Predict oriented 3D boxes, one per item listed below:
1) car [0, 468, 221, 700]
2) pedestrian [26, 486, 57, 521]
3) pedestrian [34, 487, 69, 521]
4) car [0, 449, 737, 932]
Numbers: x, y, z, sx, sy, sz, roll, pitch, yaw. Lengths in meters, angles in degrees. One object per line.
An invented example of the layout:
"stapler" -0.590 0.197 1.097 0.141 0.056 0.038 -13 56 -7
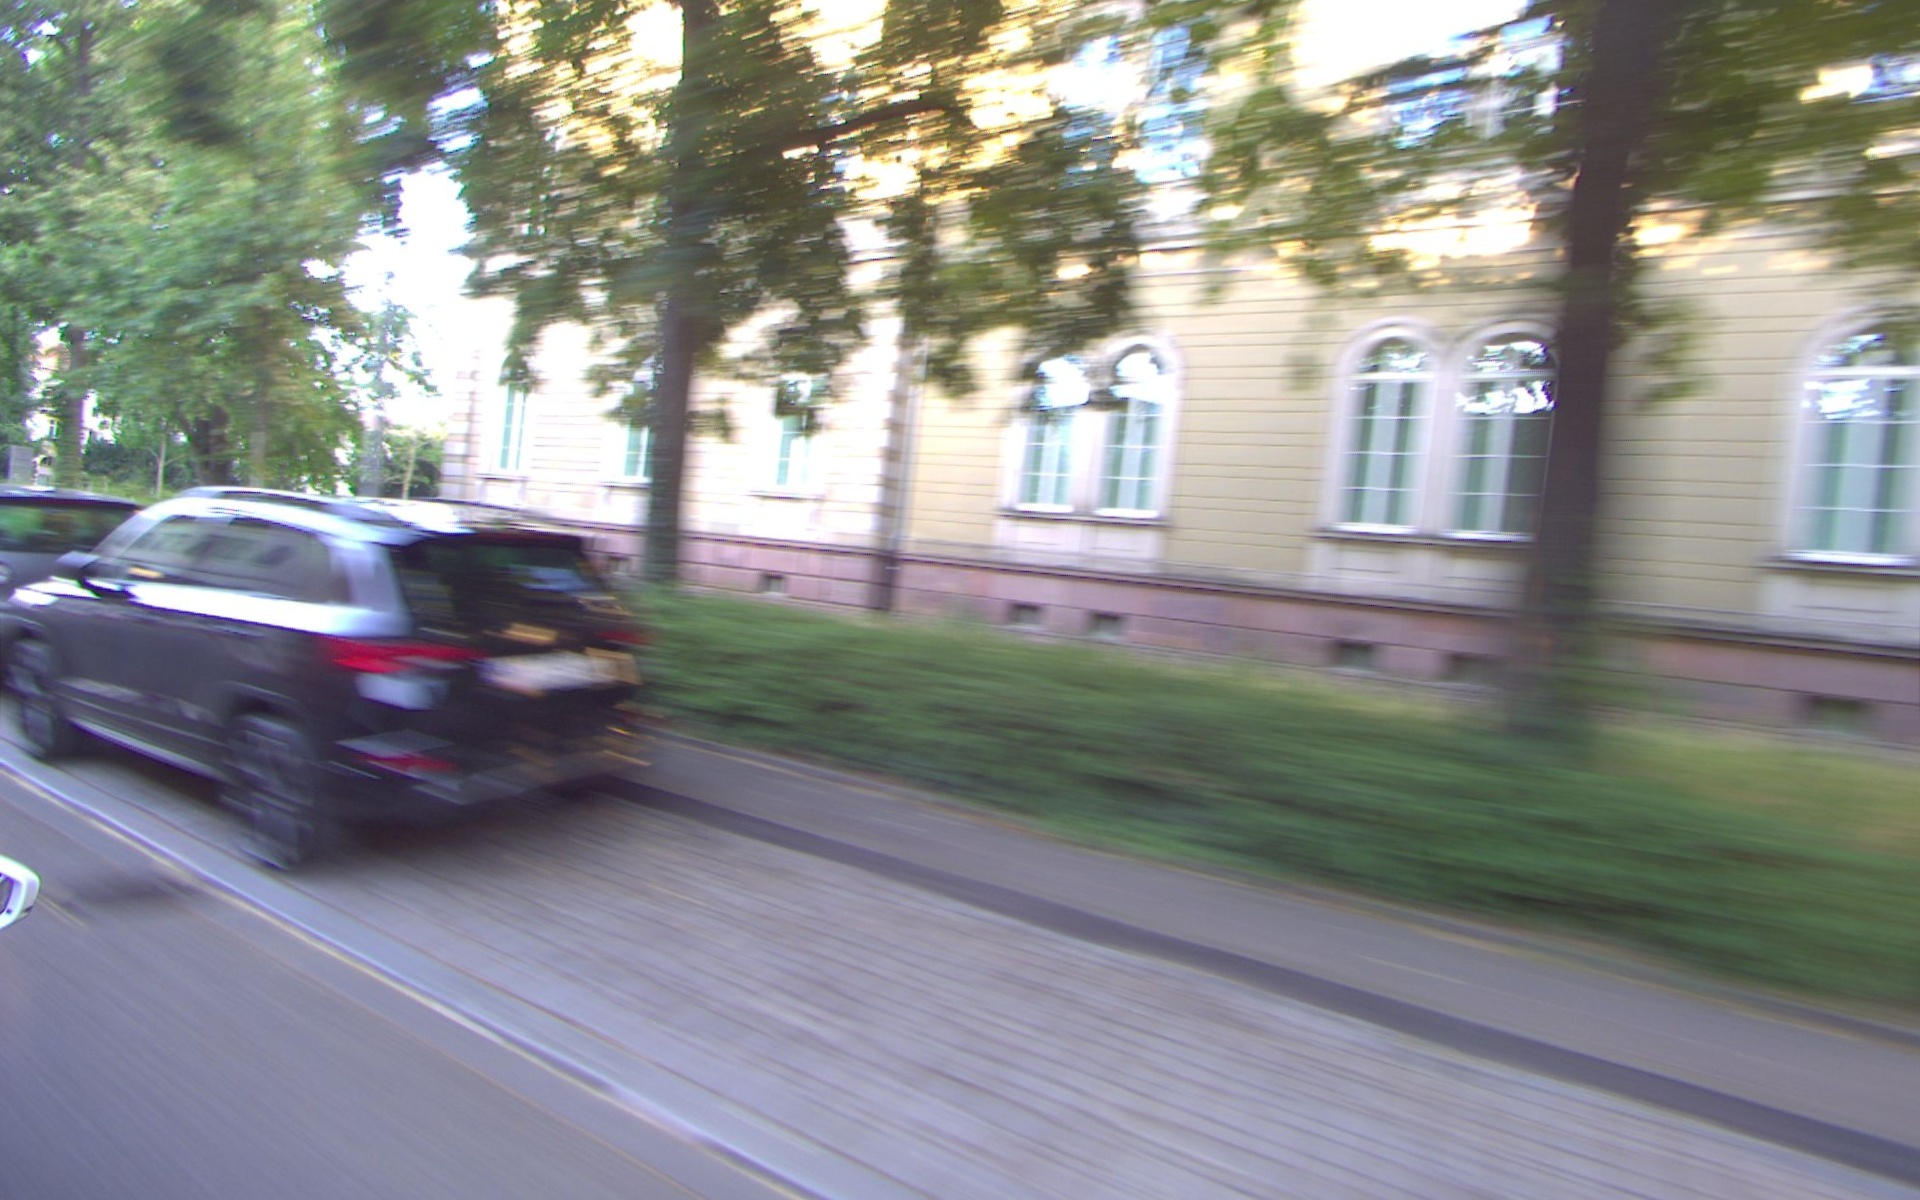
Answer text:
"car" -8.000 -0.264 8.136 4.119 1.558 1.725 6 1 31
"pedestrian" -34.725 -3.642 38.040 0.657 1.207 0.789 5 1 -31
"pedestrian" -35.200 -3.714 38.976 0.777 1.207 0.807 7 1 34
"car" -3.527 0.167 5.592 4.344 1.675 1.806 7 5 31
